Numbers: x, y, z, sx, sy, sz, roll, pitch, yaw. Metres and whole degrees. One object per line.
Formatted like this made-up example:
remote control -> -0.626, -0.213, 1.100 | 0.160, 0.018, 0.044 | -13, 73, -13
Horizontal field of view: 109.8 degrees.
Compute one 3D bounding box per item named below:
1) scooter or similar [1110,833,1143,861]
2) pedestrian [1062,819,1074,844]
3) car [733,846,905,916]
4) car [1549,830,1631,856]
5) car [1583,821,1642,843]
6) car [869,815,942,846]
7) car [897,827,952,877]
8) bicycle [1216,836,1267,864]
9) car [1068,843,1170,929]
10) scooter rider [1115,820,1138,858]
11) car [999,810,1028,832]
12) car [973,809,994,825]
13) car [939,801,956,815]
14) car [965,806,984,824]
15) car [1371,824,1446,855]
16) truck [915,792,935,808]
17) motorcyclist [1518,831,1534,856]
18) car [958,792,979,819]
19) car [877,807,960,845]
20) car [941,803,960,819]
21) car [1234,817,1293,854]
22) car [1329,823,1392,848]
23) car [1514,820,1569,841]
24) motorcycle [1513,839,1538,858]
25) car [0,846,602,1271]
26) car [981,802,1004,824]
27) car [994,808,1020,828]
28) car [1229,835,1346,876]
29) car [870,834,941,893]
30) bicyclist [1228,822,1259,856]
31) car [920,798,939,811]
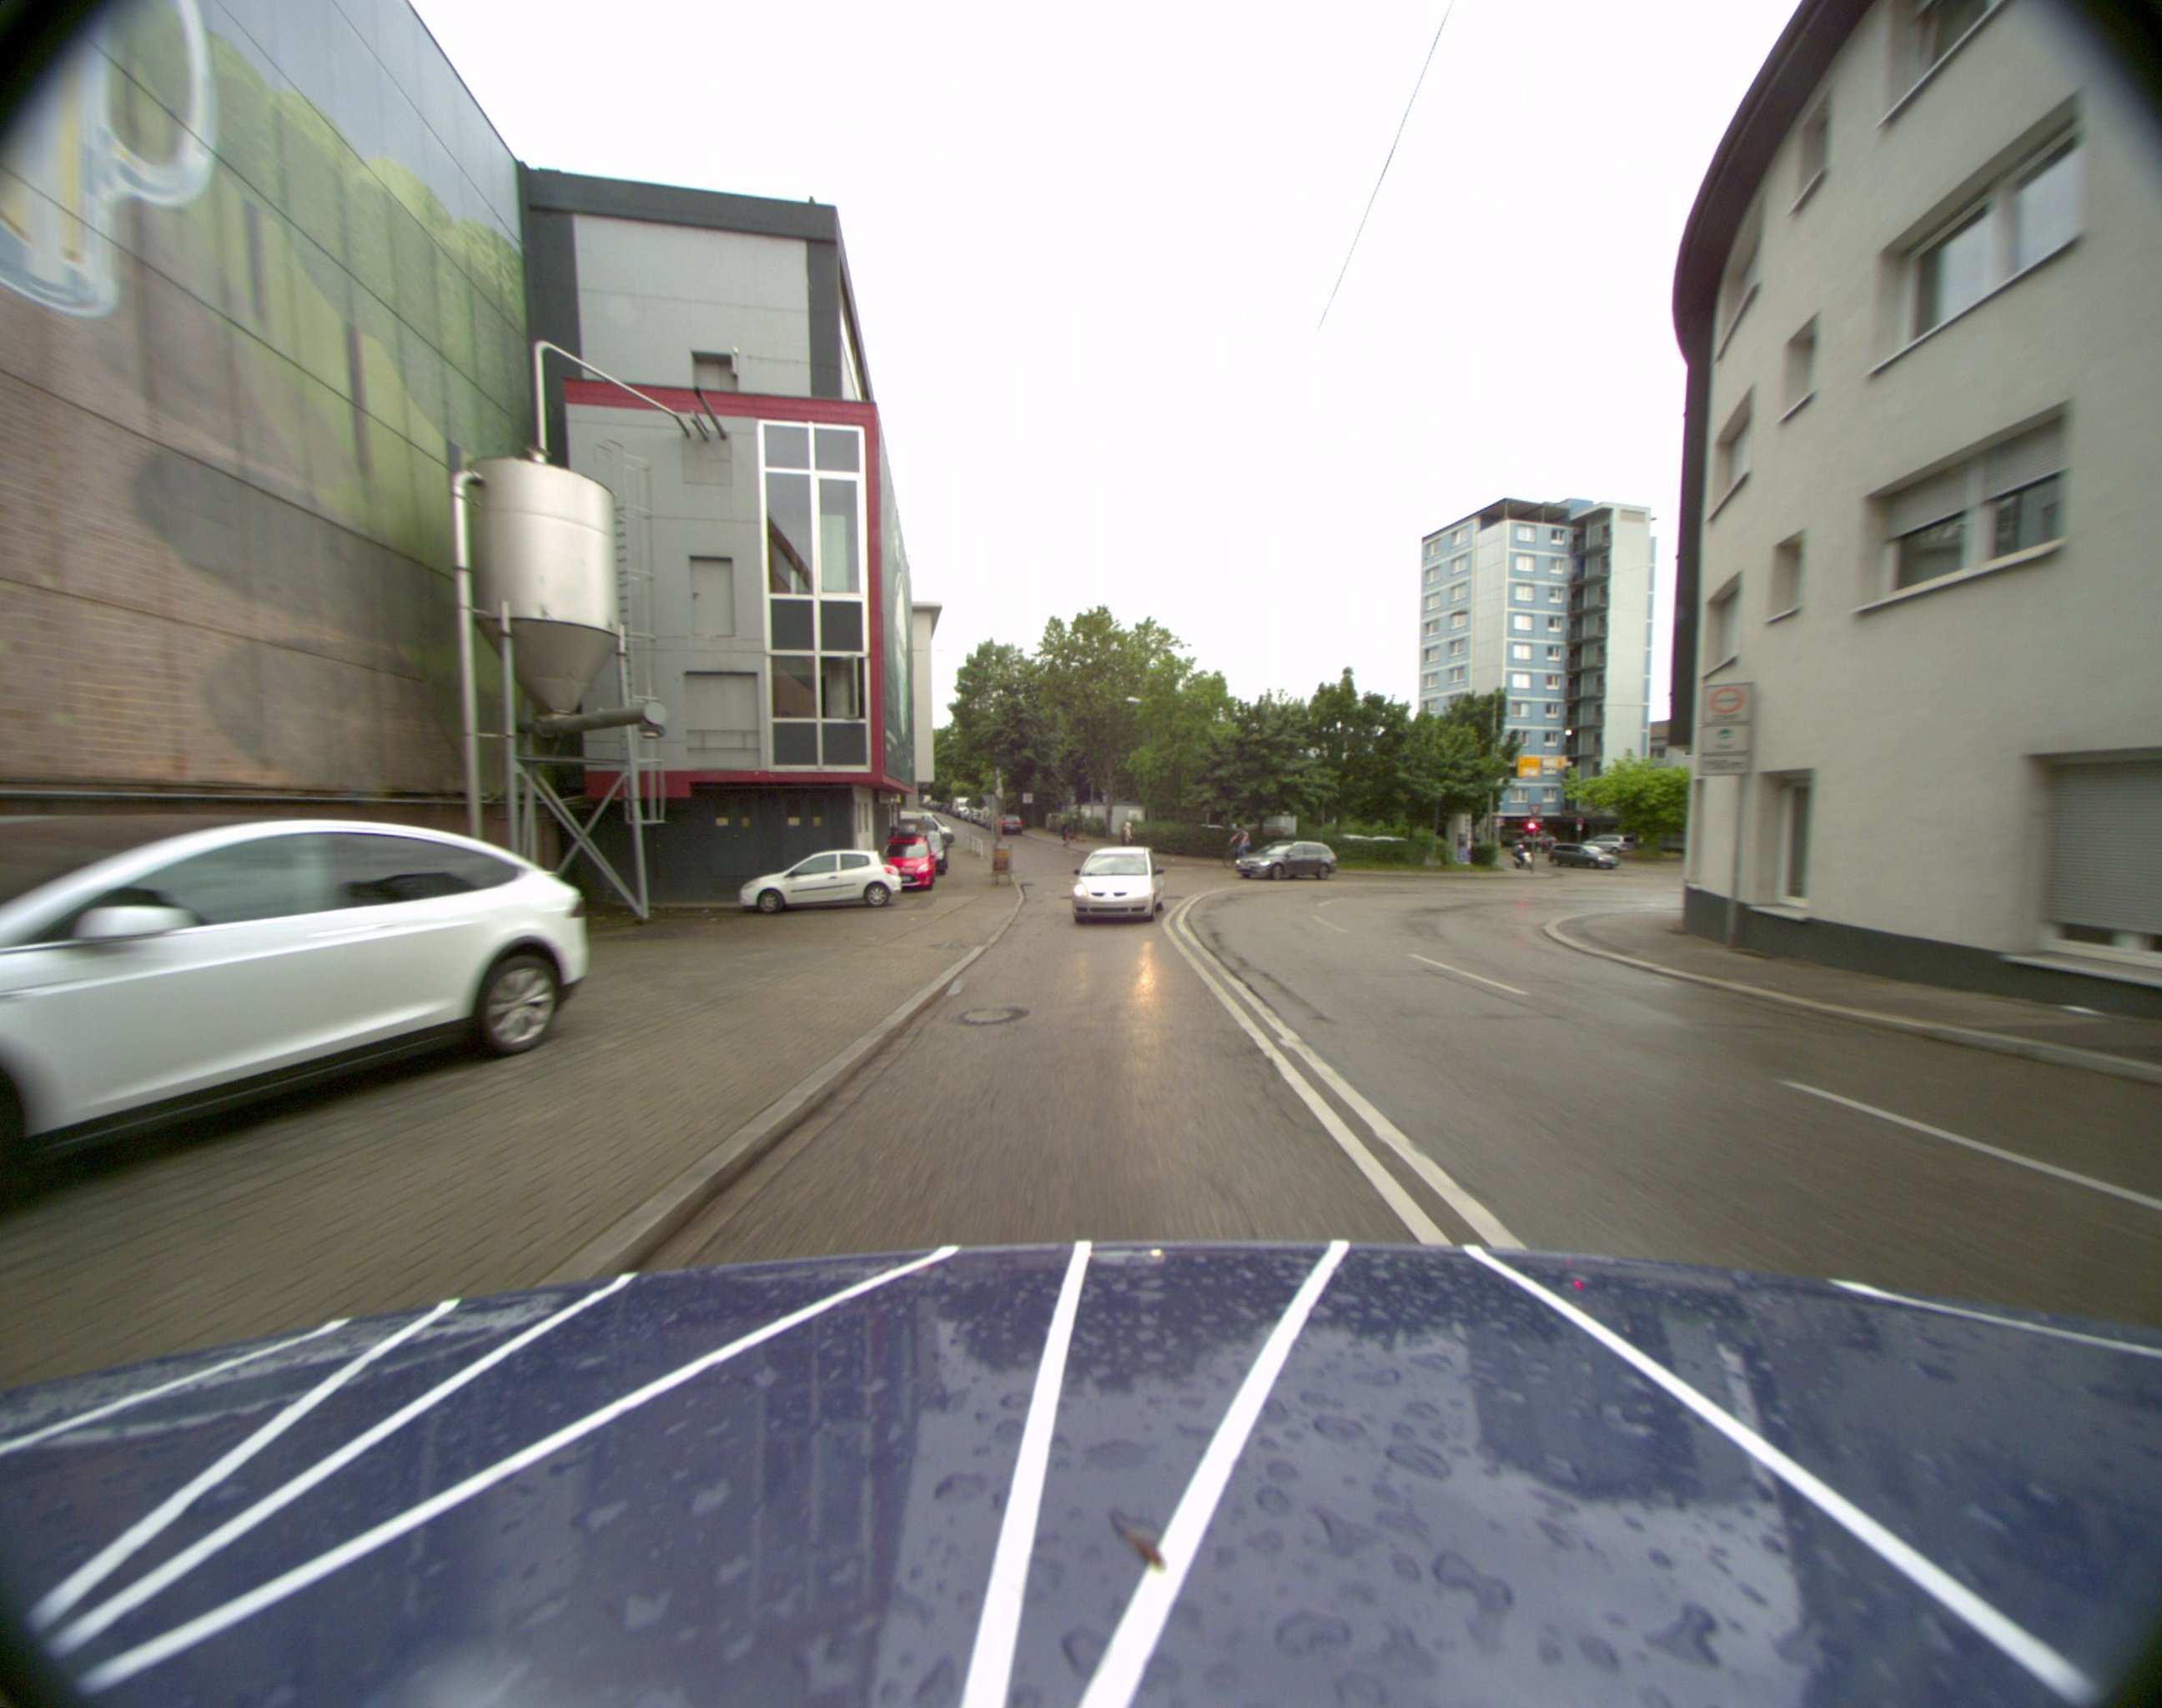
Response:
scooter or similar -> 2.214, -0.367, 37.157 | 1.410, 1.316, 0.802 | -1, 4, -26
pedestrian -> -0.840, -1.482, 49.436 | 0.704, 1.559, 0.621 | 0, 6, -10
car -> -6.686, 0.676, 19.833 | 3.994, 1.524, 1.872 | 3, 3, -12
car -> 34.534, -0.783, 51.634 | 1.802, 1.502, 4.270 | -7, 5, -28
car -> 47.687, -1.979, 68.273 | 1.652, 1.657, 4.176 | -2, 6, -17
car -> -10.567, -1.431, 45.985 | 3.999, 1.684, 1.881 | 2, 5, -5
car -> -6.349, -0.135, 31.172 | 1.933, 1.703, 3.994 | 2, 4, -8
bicycle -> 7.409, -0.163, 35.082 | 2.137, 1.181, 0.886 | 1, 5, -29
car -> 0.959, 0.585, 16.763 | 1.685, 1.497, 3.840 | 0, 4, 11
scooter rider -> 2.211, -0.748, 37.120 | 0.783, 1.811, 0.802 | -1, 4, -26
car -> -5.714, -2.764, 63.592 | 1.910, 1.642, 3.992 | 0, 4, -13
car -> -10.747, -4.091, 83.485 | 1.910, 1.642, 3.992 | 0, 4, -13
car -> -20.151, -6.948, 114.319 | 1.911, 1.931, 3.990 | 0, 5, -20
car -> -12.611, -4.616, 89.838 | 1.910, 2.024, 3.992 | 0, 4, -13
car -> 20.097, -0.922, 46.826 | 1.639, 1.612, 4.202 | 3, 3, -21
truck -> -25.999, -9.033, 126.475 | 2.054, 2.615, 3.988 | -1, 5, -29
motorcyclist -> 30.642, -0.701, 52.321 | 0.618, 1.653, 0.649 | -5, 5, 0
car -> -14.430, -6.257, 97.210 | 2.224, 3.266, 5.070 | 0, 5, -13
car -> -10.310, -1.807, 48.439 | 4.891, 2.200, 1.881 | 2, 5, -5
car -> -18.186, -5.990, 105.989 | 1.911, 2.024, 3.990 | 0, 5, -20
car -> 10.530, -1.143, 44.223 | 1.638, 1.949, 4.206 | 3, 3, -10
car -> 20.389, -1.353, 55.490 | 4.004, 1.502, 1.796 | 3, 3, -19
car -> 42.342, -2.211, 69.950 | 1.652, 1.657, 4.176 | -2, 6, -17
motorcycle -> 30.669, -0.384, 52.394 | 0.618, 1.102, 1.798 | -5, 4, 0
car -> -4.988, 0.766, 3.917 | 1.857, 1.608, 4.916 | 1, 0, 1
car -> -8.990, -4.191, 76.942 | 1.910, 2.065, 3.992 | 0, 4, -13
car -> -6.840, -3.343, 70.143 | 1.910, 1.642, 3.992 | 0, 4, -13
car -> 8.164, 0.005, 29.940 | 4.508, 1.496, 1.683 | -1, 2, -28
car -> -5.808, 0.244, 25.630 | 1.932, 1.702, 4.486 | 1, 3, -8
bicyclist -> 7.486, -0.702, 35.064 | 0.970, 1.482, 0.886 | 1, 5, -28
car -> -23.828, -7.727, 119.387 | 1.911, 1.931, 3.989 | -1, 5, -25
